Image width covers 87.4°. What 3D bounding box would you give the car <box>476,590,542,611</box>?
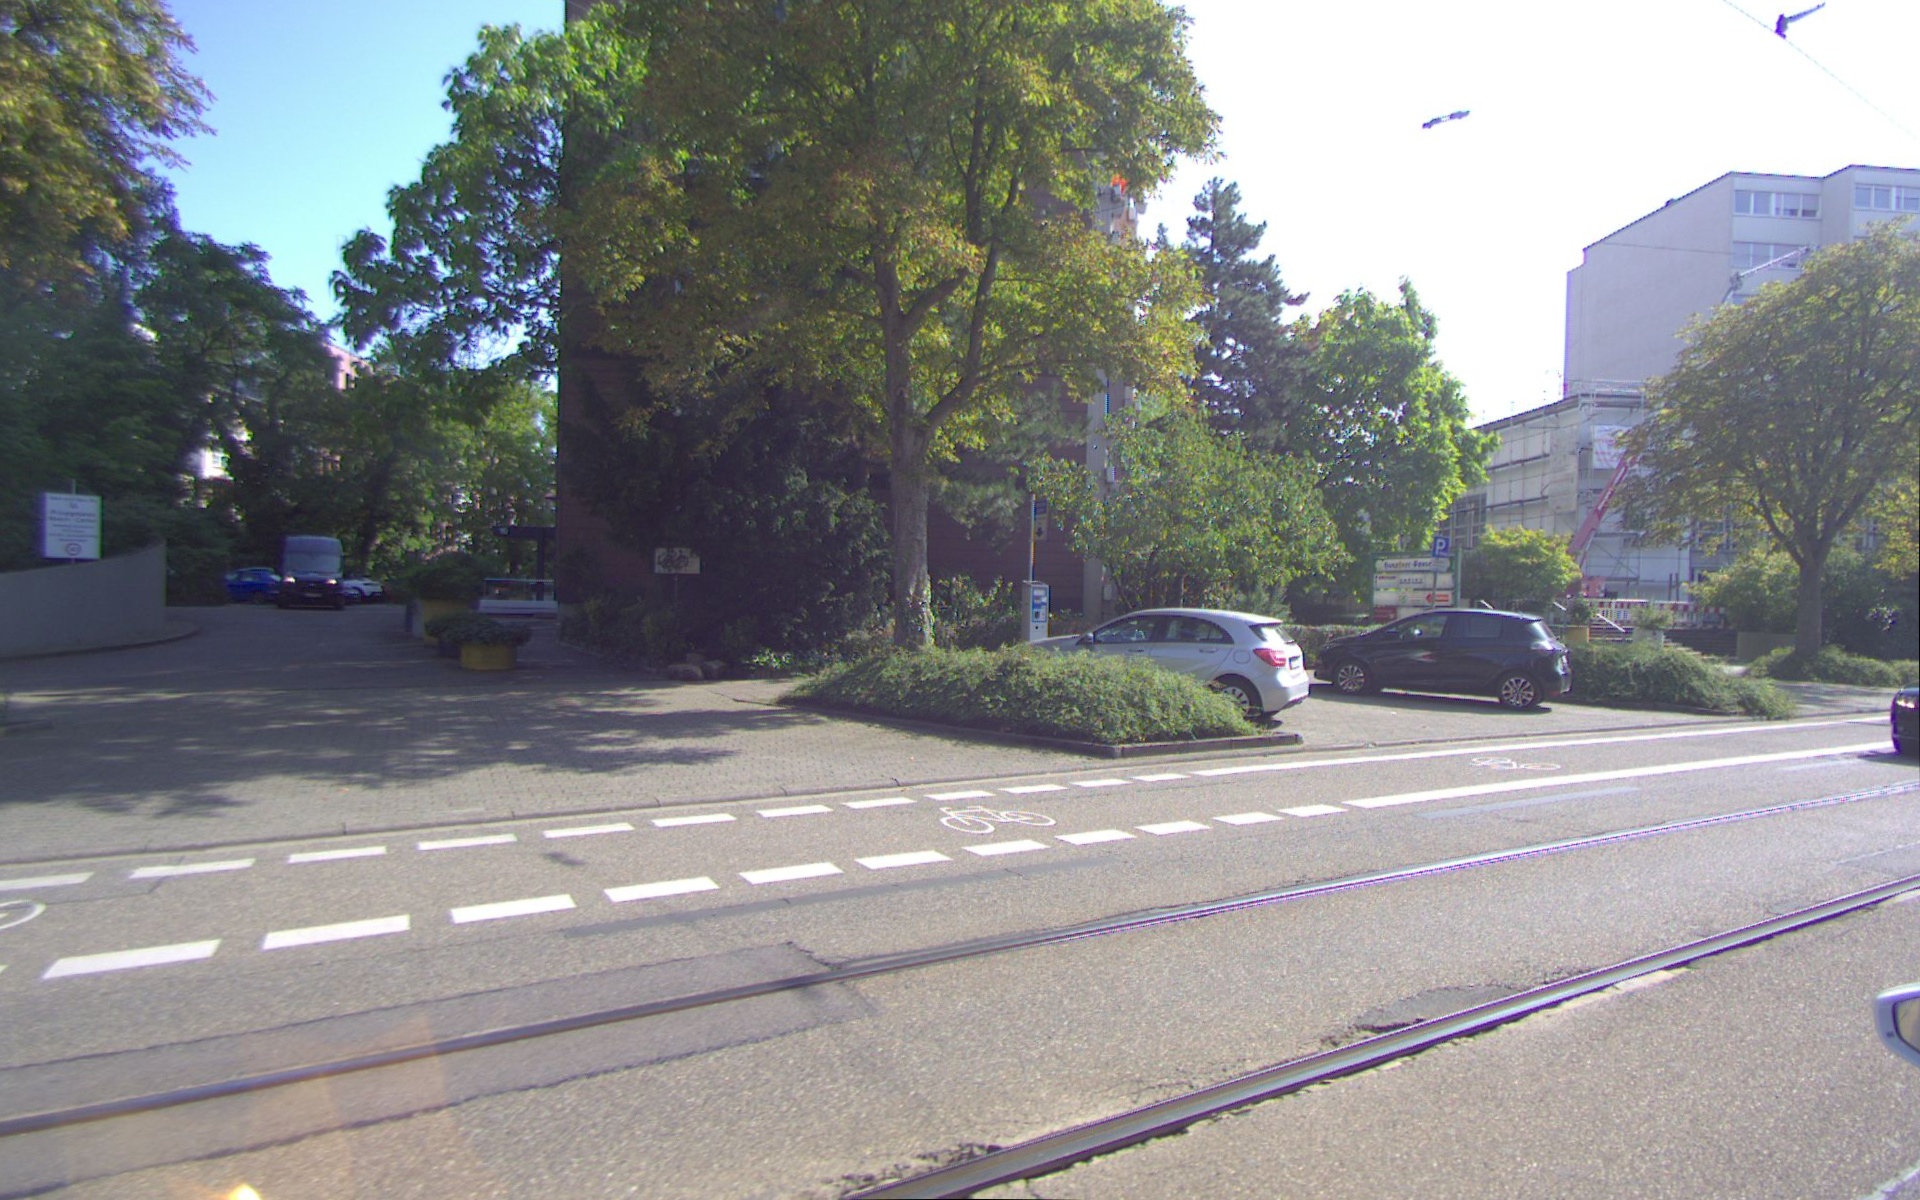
[{"bbox_3d":[-32.467,0.031,72.351,4.054,1.405,1.440,1,-1,-5],"label":"car"}]

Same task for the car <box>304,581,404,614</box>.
[{"bbox_3d":[-30.772,-0.111,51.115,4.060,1.547,1.438,1,-1,-12],"label":"car"}]

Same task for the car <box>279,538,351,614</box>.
[{"bbox_3d":[-24.204,-0.834,37.855,1.998,2.631,5.168,1,0,-30],"label":"car"}]

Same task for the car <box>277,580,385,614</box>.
[{"bbox_3d":[-30.428,-0.112,48.692,4.060,1.547,1.728,1,-1,-12],"label":"car"}]

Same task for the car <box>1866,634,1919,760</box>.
[{"bbox_3d":[12.952,1.157,12.089,4.461,1.394,1.819,2,0,-31],"label":"car"}]

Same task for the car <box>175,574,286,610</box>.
[{"bbox_3d":[-30.360,-0.336,41.918,3.575,1.396,1.489,1,0,-29],"label":"car"}]

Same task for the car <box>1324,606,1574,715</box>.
[{"bbox_3d":[8.300,0.947,17.152,3.586,1.535,1.616,3,1,36],"label":"car"}]

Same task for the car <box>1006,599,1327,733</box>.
[{"bbox_3d":[2.792,0.793,13.789,3.929,1.499,1.785,2,1,31],"label":"car"}]
